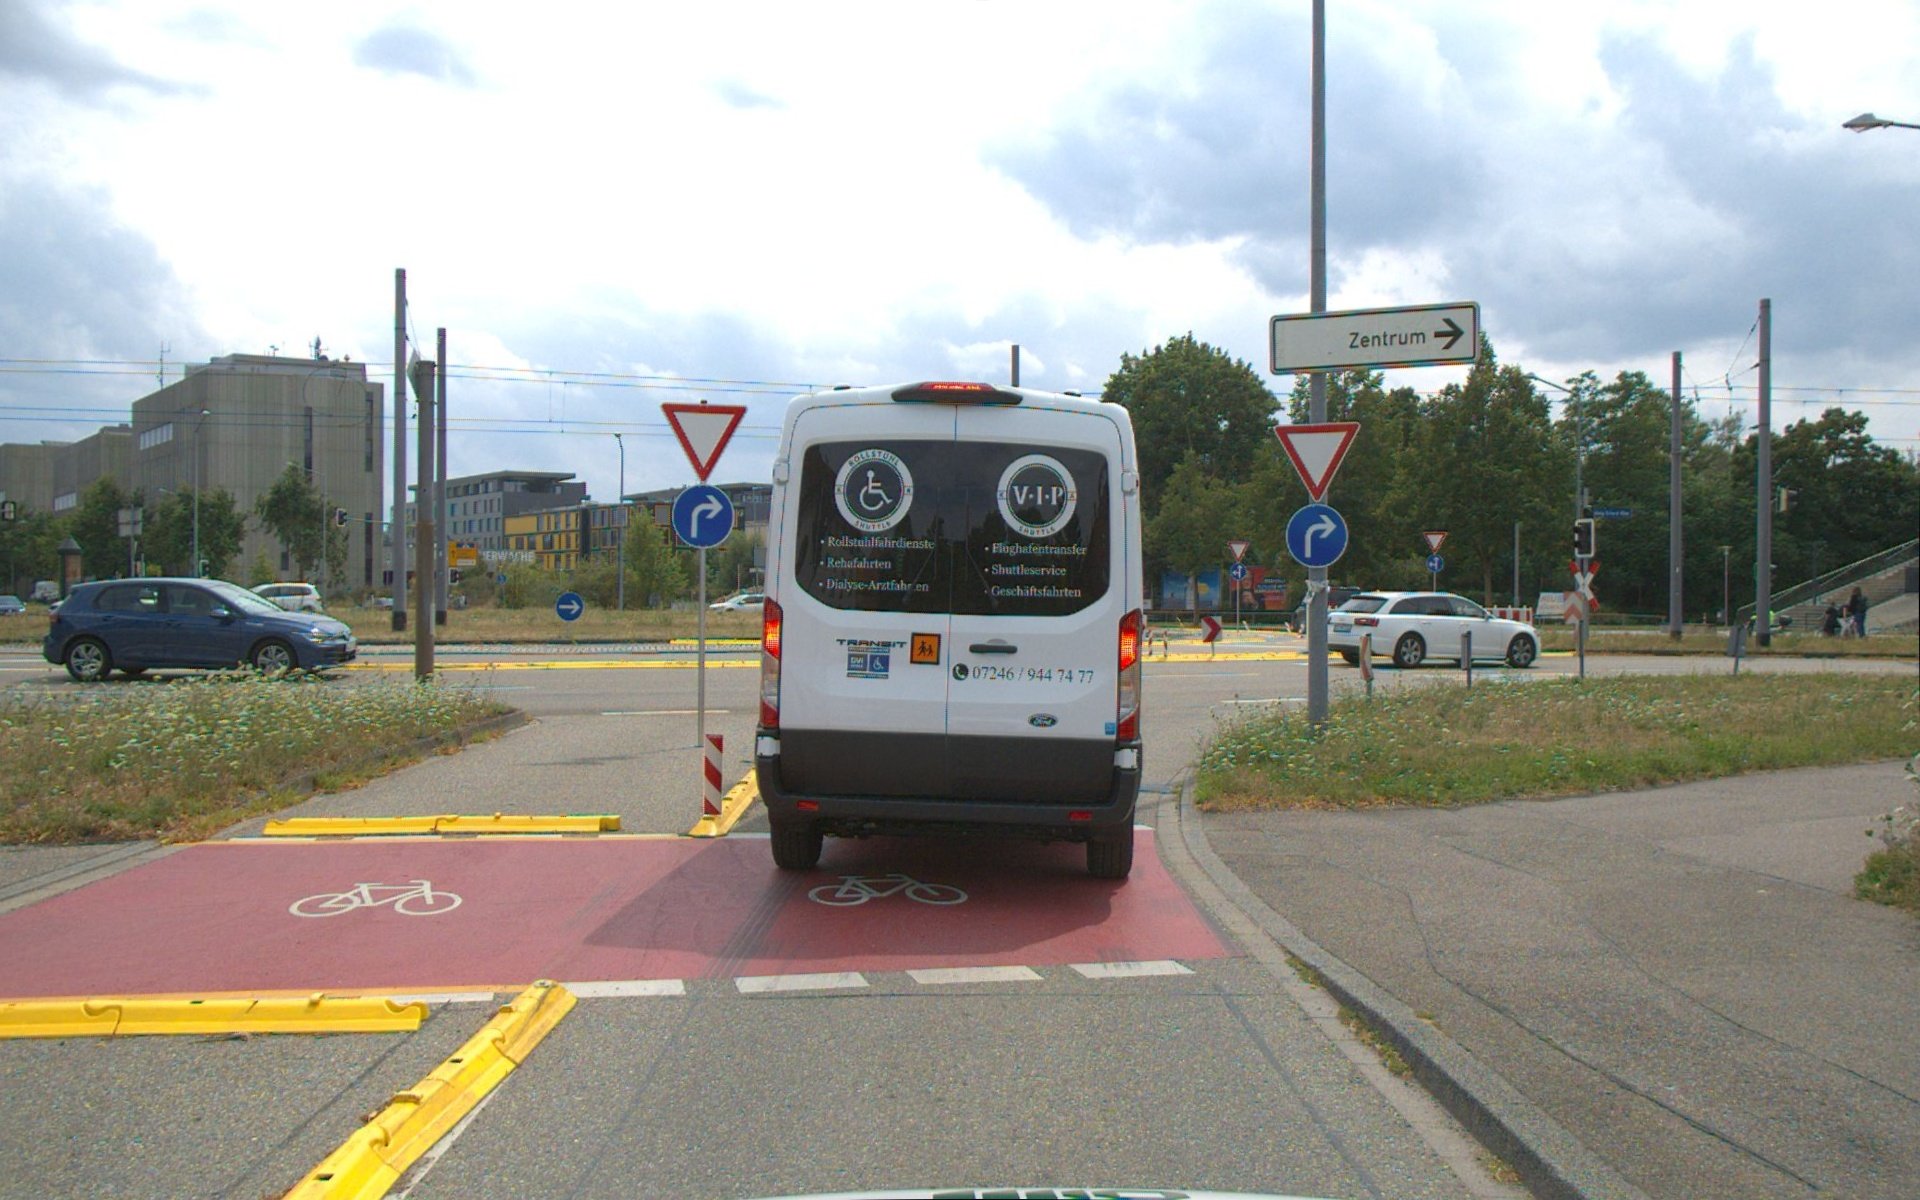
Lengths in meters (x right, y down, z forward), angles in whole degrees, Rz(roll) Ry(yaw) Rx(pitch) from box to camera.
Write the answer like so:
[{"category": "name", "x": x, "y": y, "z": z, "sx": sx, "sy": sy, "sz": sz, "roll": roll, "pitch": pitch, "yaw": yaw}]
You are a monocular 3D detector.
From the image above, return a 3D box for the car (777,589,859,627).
[{"category": "car", "x": -8.107, "y": 0.476, "z": 94.470, "sx": 4.288, "sy": 2.049, "sz": 1.986, "roll": 2, "pitch": -1, "yaw": -23}]

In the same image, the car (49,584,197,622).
[{"category": "car", "x": -34.449, "y": 0.118, "z": 68.167, "sx": 1.967, "sy": 1.508, "sz": 5.147, "roll": 0, "pitch": 0, "yaw": 44}]

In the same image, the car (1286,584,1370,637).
[{"category": "car", "x": 12.828, "y": 0.402, "z": 57.852, "sx": 1.953, "sy": 1.781, "sz": 3.998, "roll": 0, "pitch": -1, "yaw": -2}]

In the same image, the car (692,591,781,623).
[{"category": "car", "x": -11.905, "y": 0.367, "z": 88.118, "sx": 4.300, "sy": 1.695, "sz": 1.917, "roll": 0, "pitch": 0, "yaw": -33}]

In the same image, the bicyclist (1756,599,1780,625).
[{"category": "bicyclist", "x": 28.286, "y": 0.406, "z": 57.919, "sx": 0.646, "sy": 0.899, "sz": 0.604, "roll": 0, "pitch": -2, "yaw": 38}]

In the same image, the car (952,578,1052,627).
[{"category": "car", "x": 1.824, "y": 0.097, "z": 72.030, "sx": 3.907, "sy": 2.049, "sz": 1.999, "roll": 0, "pitch": 0, "yaw": 24}]

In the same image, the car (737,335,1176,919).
[{"category": "car", "x": 0.181, "y": 0.127, "z": 10.650, "sx": 2.081, "sy": 2.745, "sz": 5.634, "roll": 0, "pitch": 0, "yaw": 4}]

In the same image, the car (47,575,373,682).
[{"category": "car", "x": -11.051, "y": 0.404, "z": 24.592, "sx": 4.021, "sy": 1.523, "sz": 1.801, "roll": 0, "pitch": 0, "yaw": -3}]

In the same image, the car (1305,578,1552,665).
[{"category": "car", "x": 9.465, "y": 0.416, "z": 33.394, "sx": 4.676, "sy": 1.646, "sz": 1.985, "roll": 0, "pitch": 0, "yaw": -25}]

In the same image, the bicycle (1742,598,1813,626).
[{"category": "bicycle", "x": 28.527, "y": 0.416, "z": 57.731, "sx": 2.162, "sy": 0.954, "sz": 0.611, "roll": 0, "pitch": -2, "yaw": 39}]

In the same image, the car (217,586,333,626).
[{"category": "car", "x": -30.030, "y": 0.267, "z": 72.592, "sx": 1.905, "sy": 1.695, "sz": 4.326, "roll": 0, "pitch": 0, "yaw": 43}]

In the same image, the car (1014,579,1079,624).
[{"category": "car", "x": 4.529, "y": 0.113, "z": 87.384, "sx": 1.995, "sy": 2.319, "sz": 4.134, "roll": 1, "pitch": -1, "yaw": -20}]
